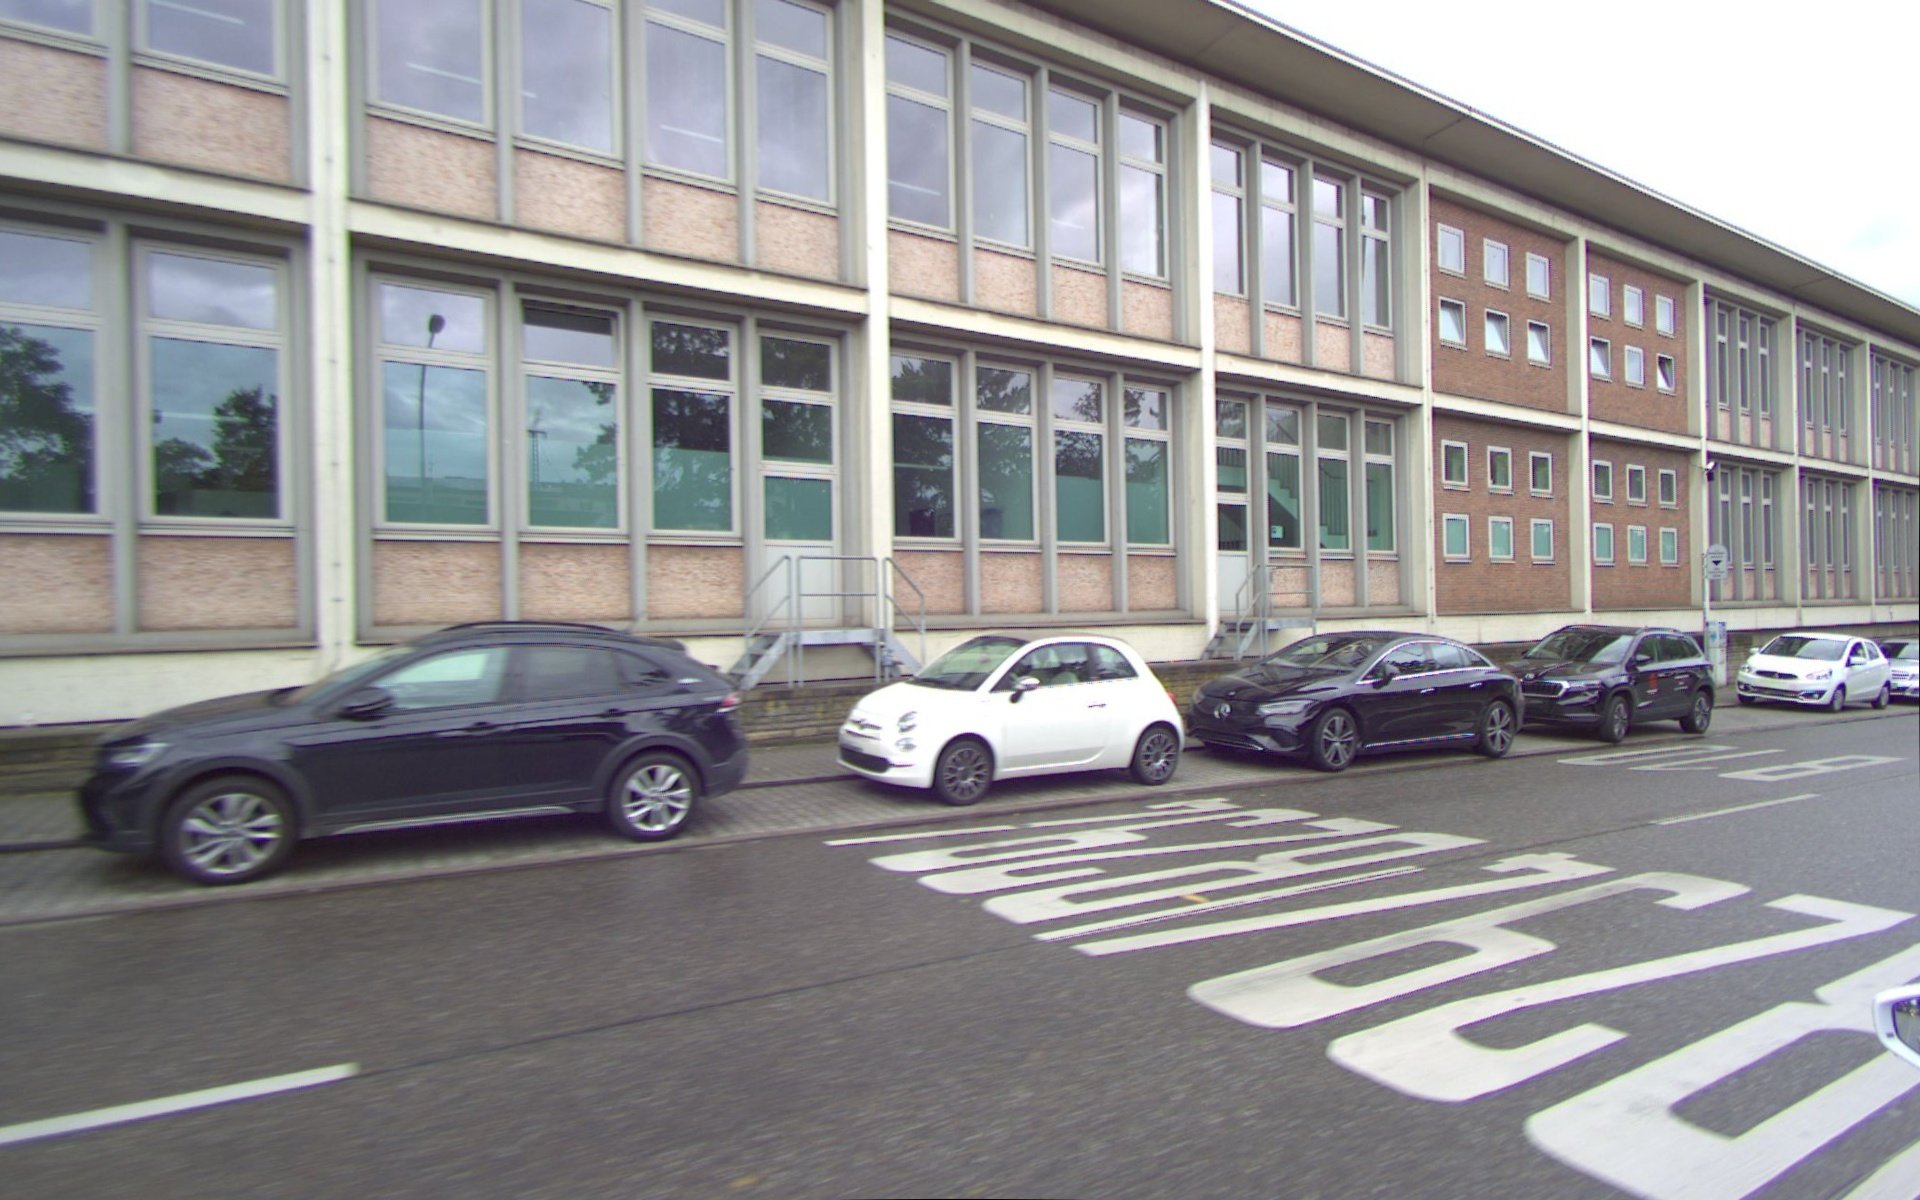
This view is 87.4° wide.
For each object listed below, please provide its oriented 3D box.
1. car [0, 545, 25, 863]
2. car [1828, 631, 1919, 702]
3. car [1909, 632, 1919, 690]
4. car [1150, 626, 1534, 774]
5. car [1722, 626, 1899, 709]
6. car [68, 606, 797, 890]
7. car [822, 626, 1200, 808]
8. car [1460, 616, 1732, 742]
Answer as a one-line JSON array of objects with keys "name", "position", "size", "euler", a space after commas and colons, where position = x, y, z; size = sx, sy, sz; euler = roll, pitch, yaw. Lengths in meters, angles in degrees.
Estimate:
[{"name": "car", "position": [-7.767, 0.604, 4.466], "size": [4.940, 1.969, 1.938], "euler": [1, -1, -32]}, {"name": "car", "position": [22.122, 1.512, 23.345], "size": [4.437, 1.454, 1.738], "euler": [2, 0, -33]}, {"name": "car", "position": [26.668, 1.604, 26.270], "size": [4.136, 1.473, 1.738], "euler": [1, 0, -33]}, {"name": "car", "position": [4.812, 1.093, 12.453], "size": [4.850, 1.503, 1.807], "euler": [1, -1, -30]}, {"name": "car", "position": [17.675, 1.343, 20.840], "size": [3.876, 1.543, 1.670], "euler": [1, -1, -31]}, {"name": "car", "position": [-3.539, 0.857, 7.447], "size": [4.261, 1.572, 1.852], "euler": [1, -1, -30]}, {"name": "car", "position": [0.555, 1.016, 10.002], "size": [3.512, 1.503, 1.558], "euler": [1, -1, -32]}, {"name": "car", "position": [9.991, 1.156, 15.682], "size": [4.466, 1.675, 1.831], "euler": [2, 0, -32]}]
